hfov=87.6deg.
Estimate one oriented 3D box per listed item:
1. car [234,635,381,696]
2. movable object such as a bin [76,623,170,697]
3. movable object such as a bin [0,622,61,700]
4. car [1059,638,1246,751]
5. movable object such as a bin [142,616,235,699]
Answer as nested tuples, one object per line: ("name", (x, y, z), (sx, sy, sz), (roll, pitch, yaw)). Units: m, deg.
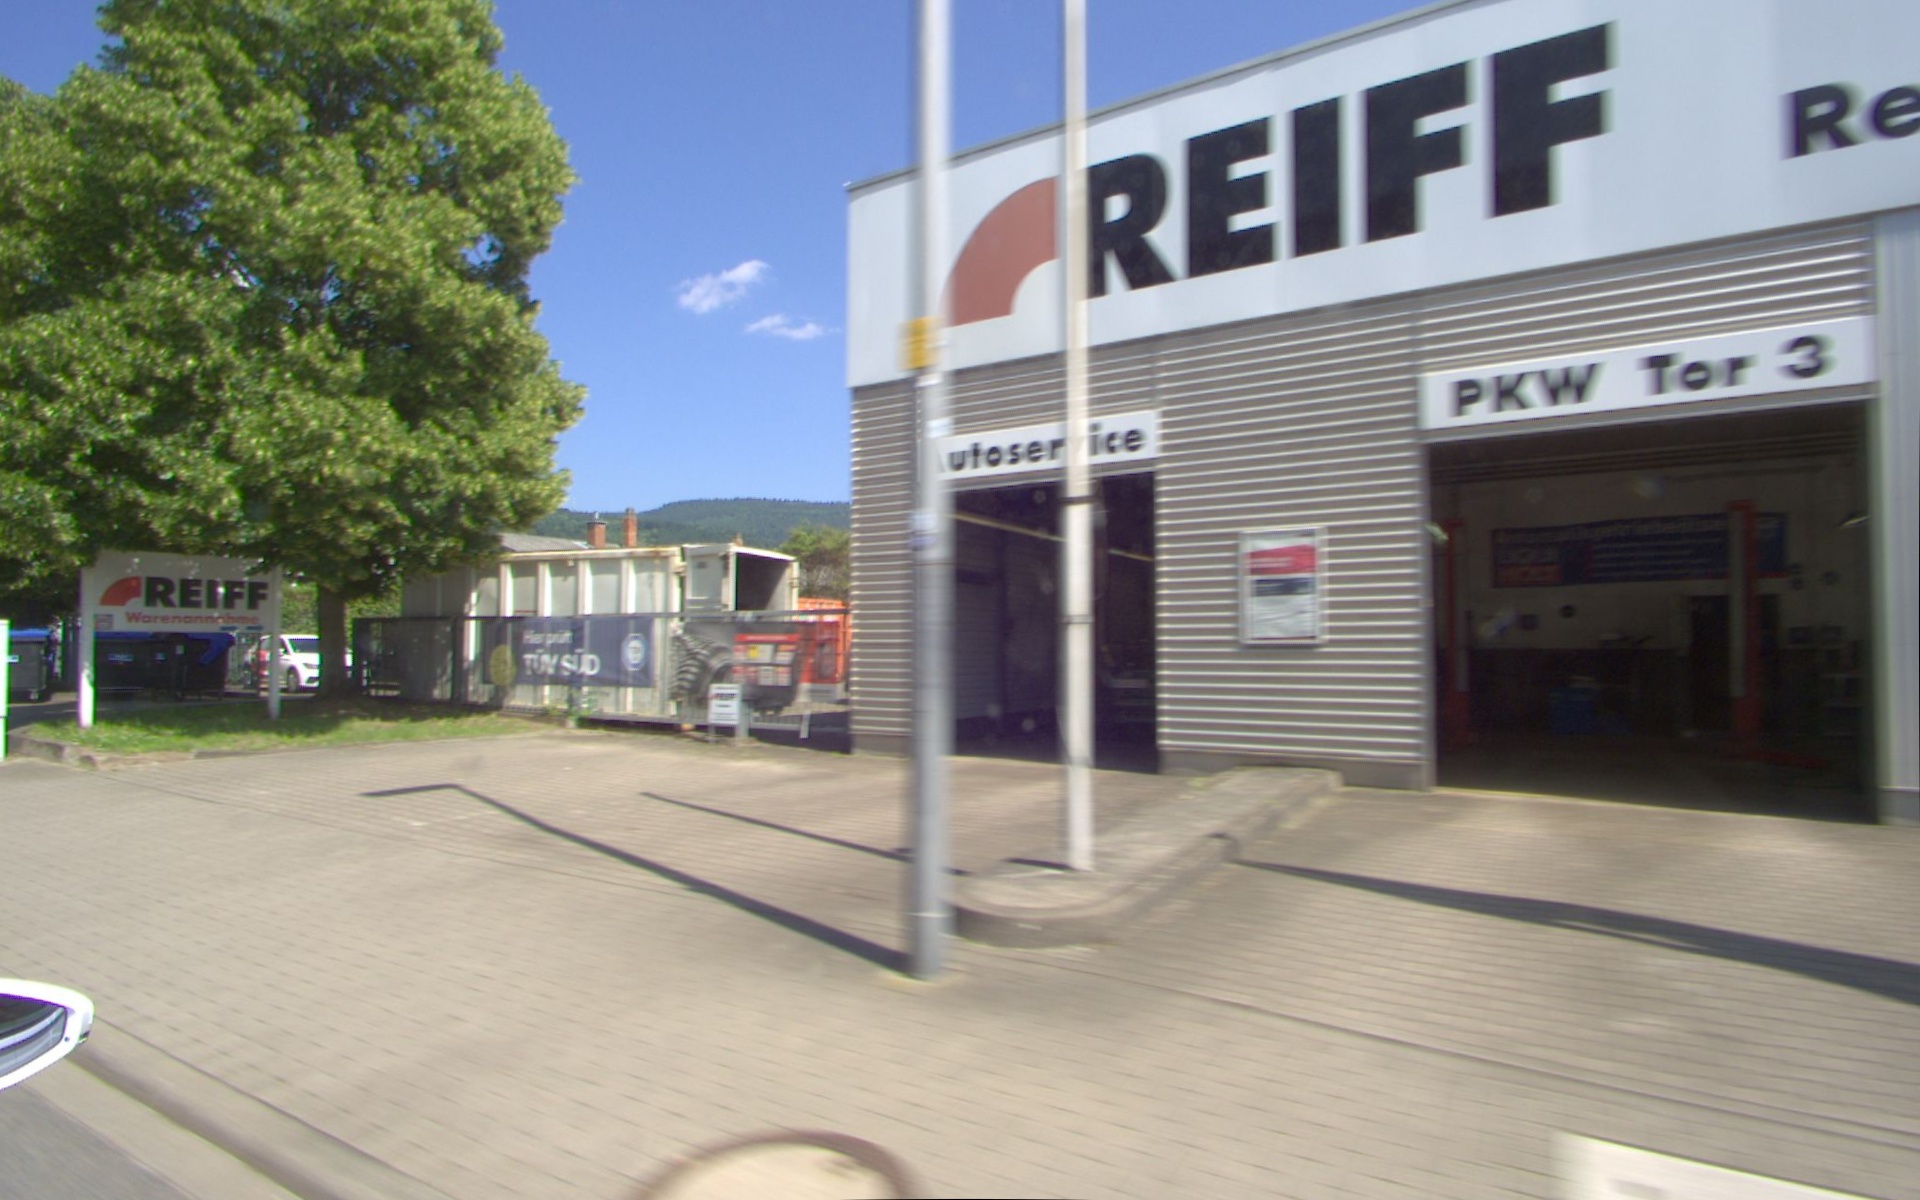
("car", (-17.100, 1.668, 26.212), (3.943, 1.478, 1.741), (-1, -3, 33))
("movable object such as a bin", (-16.863, 1.221, 20.216), (1.303, 1.447, 0.880), (2, -4, -33))
("movable object such as a bin", (-18.128, 1.166, 19.020), (1.370, 1.447, 0.985), (2, -4, -33))
("car", (2.922, 1.286, 14.567), (1.698, 1.393, 3.762), (-1, -3, 27))
("movable object such as a bin", (-15.109, 1.143, 19.621), (1.301, 1.565, 0.978), (-3, -4, 28))
